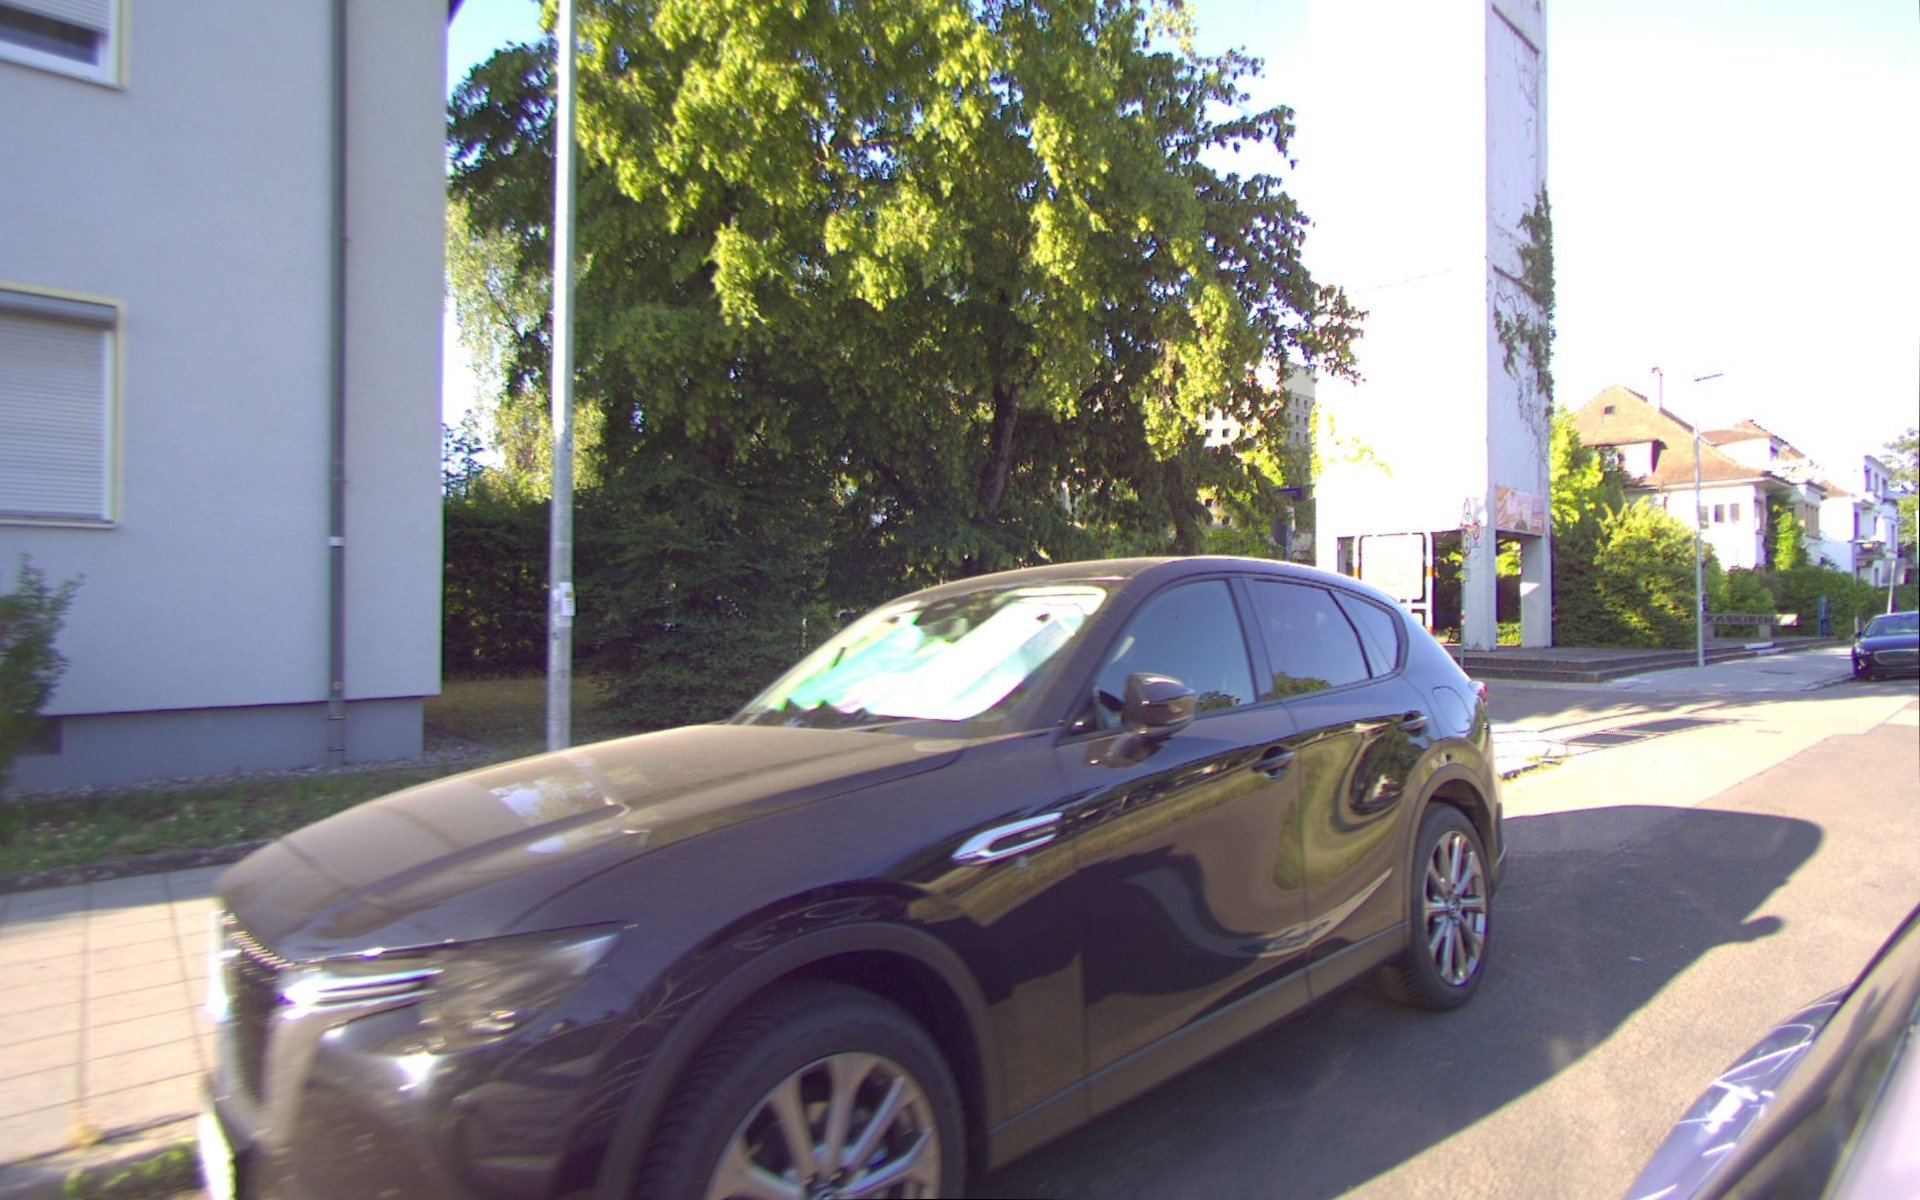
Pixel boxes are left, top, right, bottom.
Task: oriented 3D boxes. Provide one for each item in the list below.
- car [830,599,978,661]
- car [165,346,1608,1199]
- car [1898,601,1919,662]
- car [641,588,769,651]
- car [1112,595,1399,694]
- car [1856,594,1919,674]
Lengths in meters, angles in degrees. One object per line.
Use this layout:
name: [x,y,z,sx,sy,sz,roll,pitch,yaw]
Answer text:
car: [-1.569,0.775,27.081,1.964,1.529,4.125,0,-1,-38]
car: [0.399,0.562,3.570,4.945,1.754,1.834,-1,-2,-42]
car: [26.177,0.773,26.589,4.101,1.548,1.689,1,-5,-41]
car: [-9.153,0.650,36.047,2.139,1.997,5.005,-4,2,-44]
car: [5.397,0.776,19.070,1.969,1.504,4.854,-5,2,-41]
car: [21.317,0.665,22.131,4.540,1.582,1.824,0,-7,-41]
